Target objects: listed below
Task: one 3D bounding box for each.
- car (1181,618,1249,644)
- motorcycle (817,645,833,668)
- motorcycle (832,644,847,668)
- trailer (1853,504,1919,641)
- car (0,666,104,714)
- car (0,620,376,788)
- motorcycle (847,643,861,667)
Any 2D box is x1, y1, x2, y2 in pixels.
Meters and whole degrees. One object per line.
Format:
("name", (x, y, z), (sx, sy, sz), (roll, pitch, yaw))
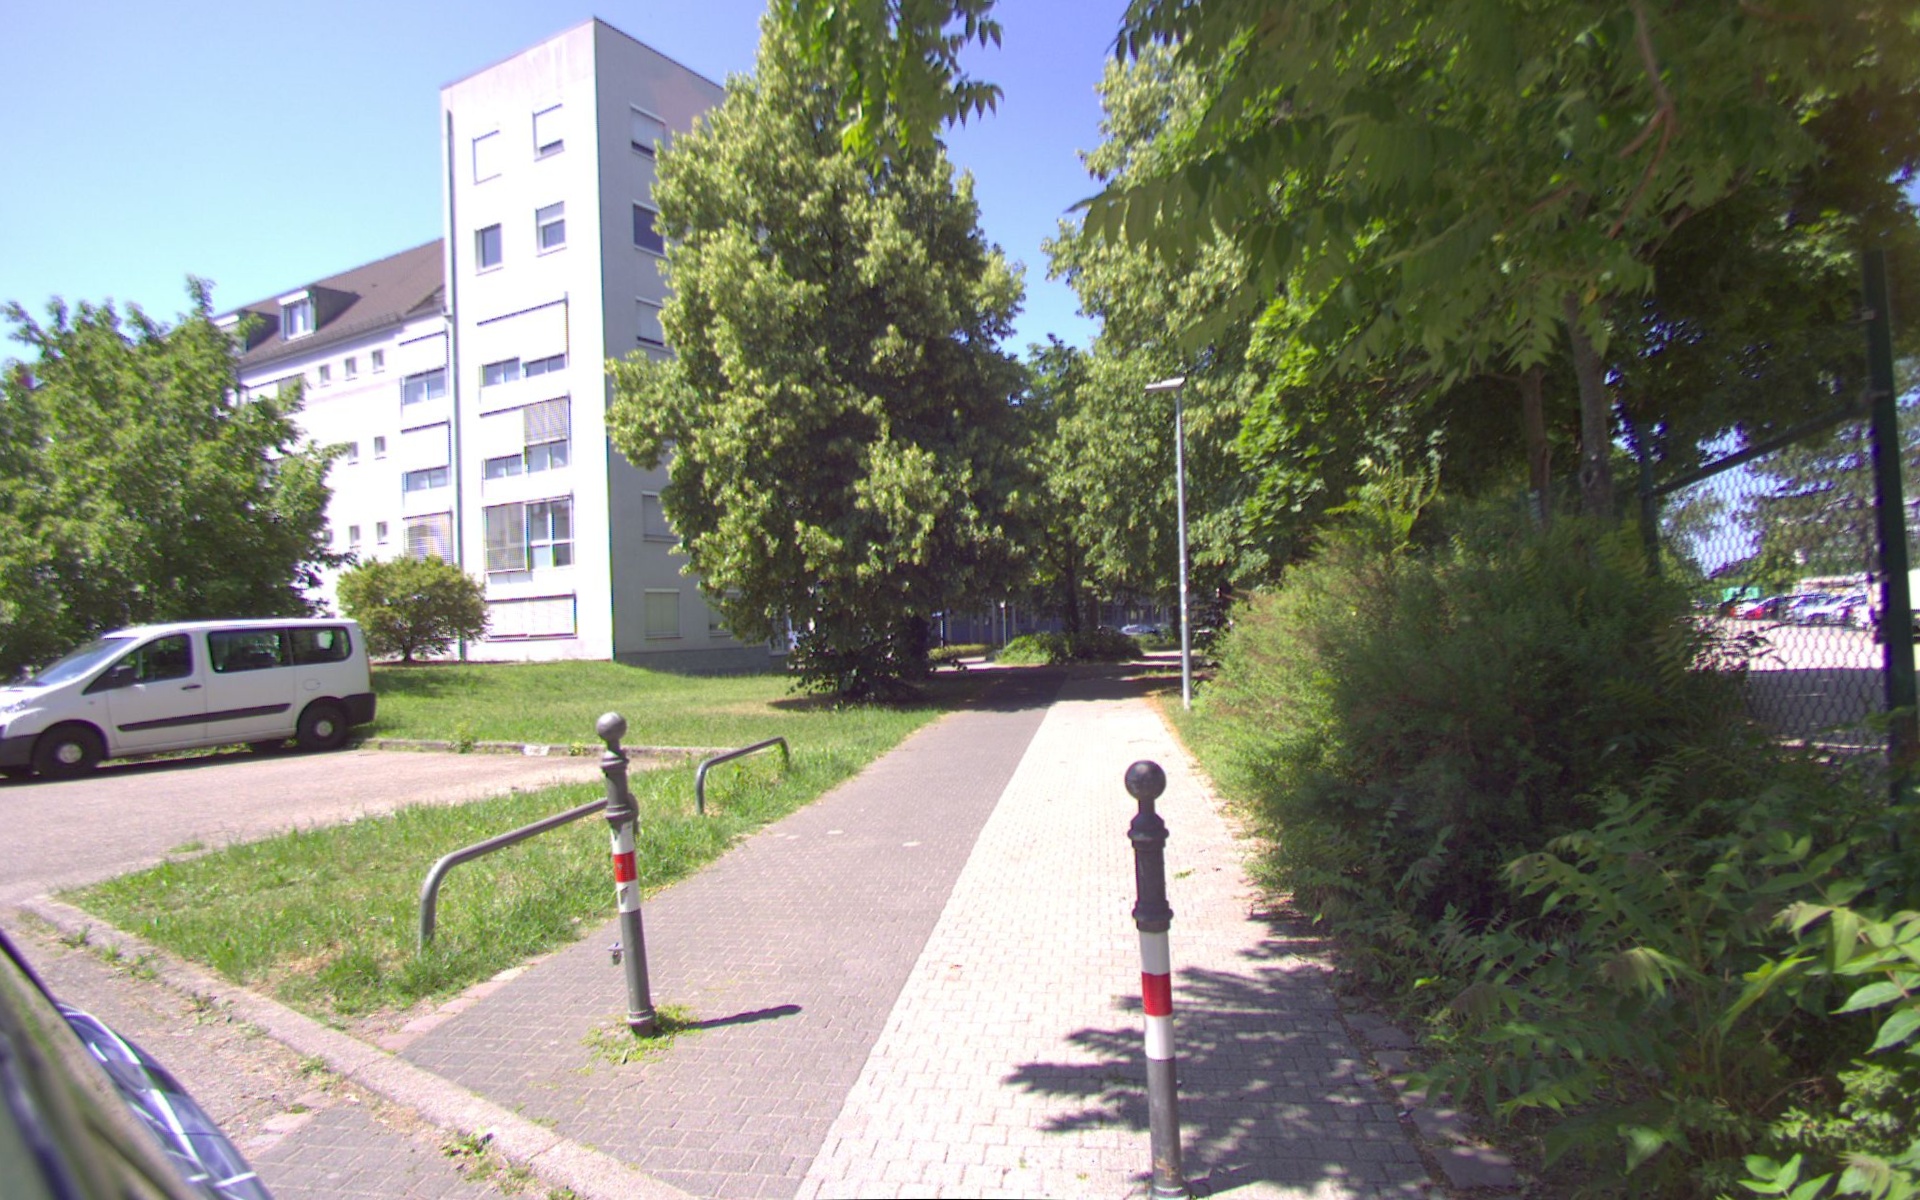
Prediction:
("car", (14.171, 1.719, 56.253), (3.474, 1.253, 1.741), (-3, -2, 20))
("motorcycle", (-7.110, 2.967, 53.443), (0.689, 1.176, 2.306), (-2, -2, -5))
("motorcycle", (-6.357, 2.949, 53.587), (0.689, 1.176, 2.313), (-2, -2, -5))
("trailer", (27.413, -0.739, 28.639), (3.041, 3.447, 8.650), (-3, -1, 42))
("car", (-31.014, 2.971, 33.365), (1.705, 1.447, 3.958), (-3, -3, 30))
("car", (-10.933, 1.296, 13.842), (1.992, 1.926, 4.756), (-4, -3, 29))
("motorcycle", (-5.609, 2.904, 53.722), (0.689, 1.176, 2.335), (-2, -2, -5))
